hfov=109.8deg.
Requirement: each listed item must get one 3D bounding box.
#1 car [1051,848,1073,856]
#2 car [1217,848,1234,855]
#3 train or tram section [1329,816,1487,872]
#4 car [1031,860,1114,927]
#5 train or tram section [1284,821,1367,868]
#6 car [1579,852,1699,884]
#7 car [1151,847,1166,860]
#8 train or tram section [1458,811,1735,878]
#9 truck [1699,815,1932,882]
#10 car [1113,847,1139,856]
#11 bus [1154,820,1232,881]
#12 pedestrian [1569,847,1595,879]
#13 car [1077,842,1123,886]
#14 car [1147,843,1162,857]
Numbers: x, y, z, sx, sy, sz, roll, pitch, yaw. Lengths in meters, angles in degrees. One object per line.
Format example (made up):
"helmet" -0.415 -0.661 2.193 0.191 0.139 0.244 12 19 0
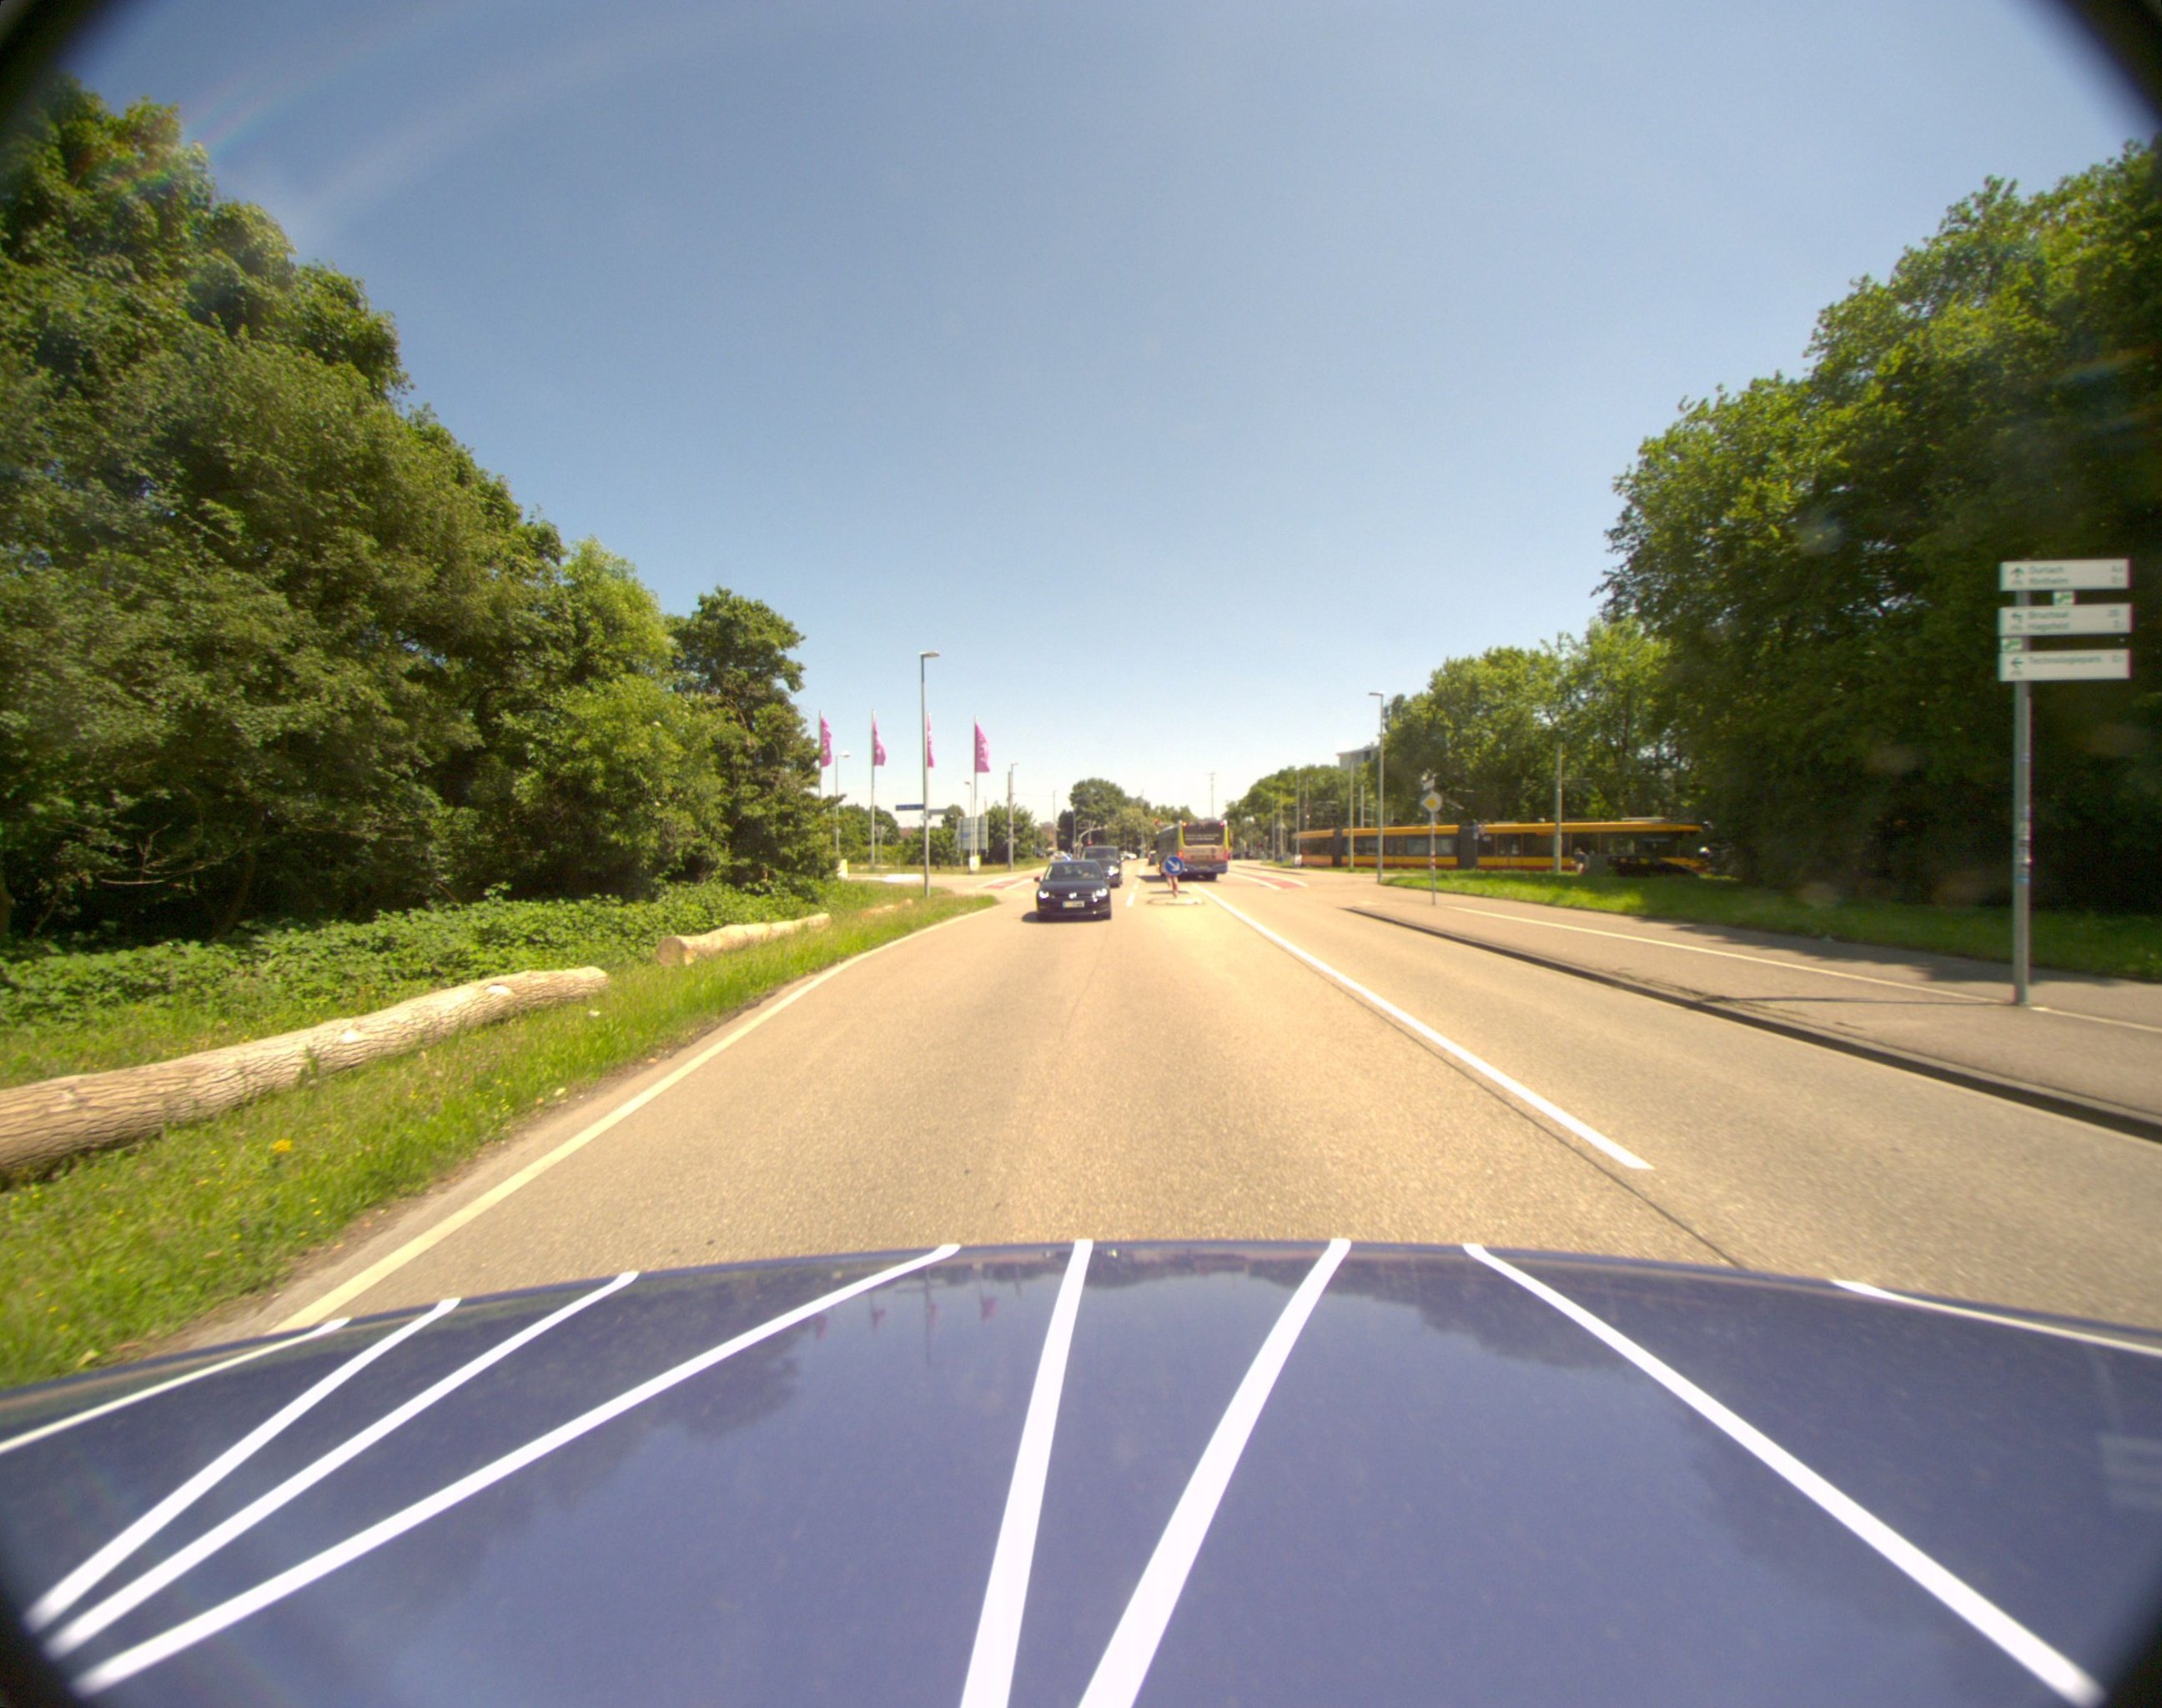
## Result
"car" -3.968 -0.409 157.504 4.399 1.567 1.879 0 0 36
"car" 31.377 -0.525 164.725 3.487 1.419 1.586 -1 -2 10
"train or tram section" 24.064 -0.729 56.973 3.030 3.737 11.590 1 0 -27
"car" -0.105 0.901 18.971 1.708 1.396 4.055 -1 0 4
"train or tram section" 21.552 -0.789 68.042 3.024 3.737 12.991 1 0 -1
"car" 26.698 0.643 36.506 4.305 1.409 1.668 0 2 14
"car" 8.876 -0.062 87.409 1.726 1.454 3.991 -1 0 5
"train or tram section" 31.737 -0.612 47.789 14.006 3.737 3.033 1 0 37
"truck" 33.403 -0.262 34.922 7.327 2.893 2.570 0 1 15
"car" 8.447 -0.430 142.555 4.399 1.567 1.879 0 0 36
"bus" 6.217 -0.240 44.327 2.756 3.028 11.936 1 1 0
"pedestrian" 27.280 0.472 41.347 0.810 1.699 0.854 -1 0 -9
"car" 0.970 0.439 35.996 1.941 1.920 4.847 -1 0 4
"car" 9.193 -0.534 95.235 1.815 1.713 4.833 -1 0 5
